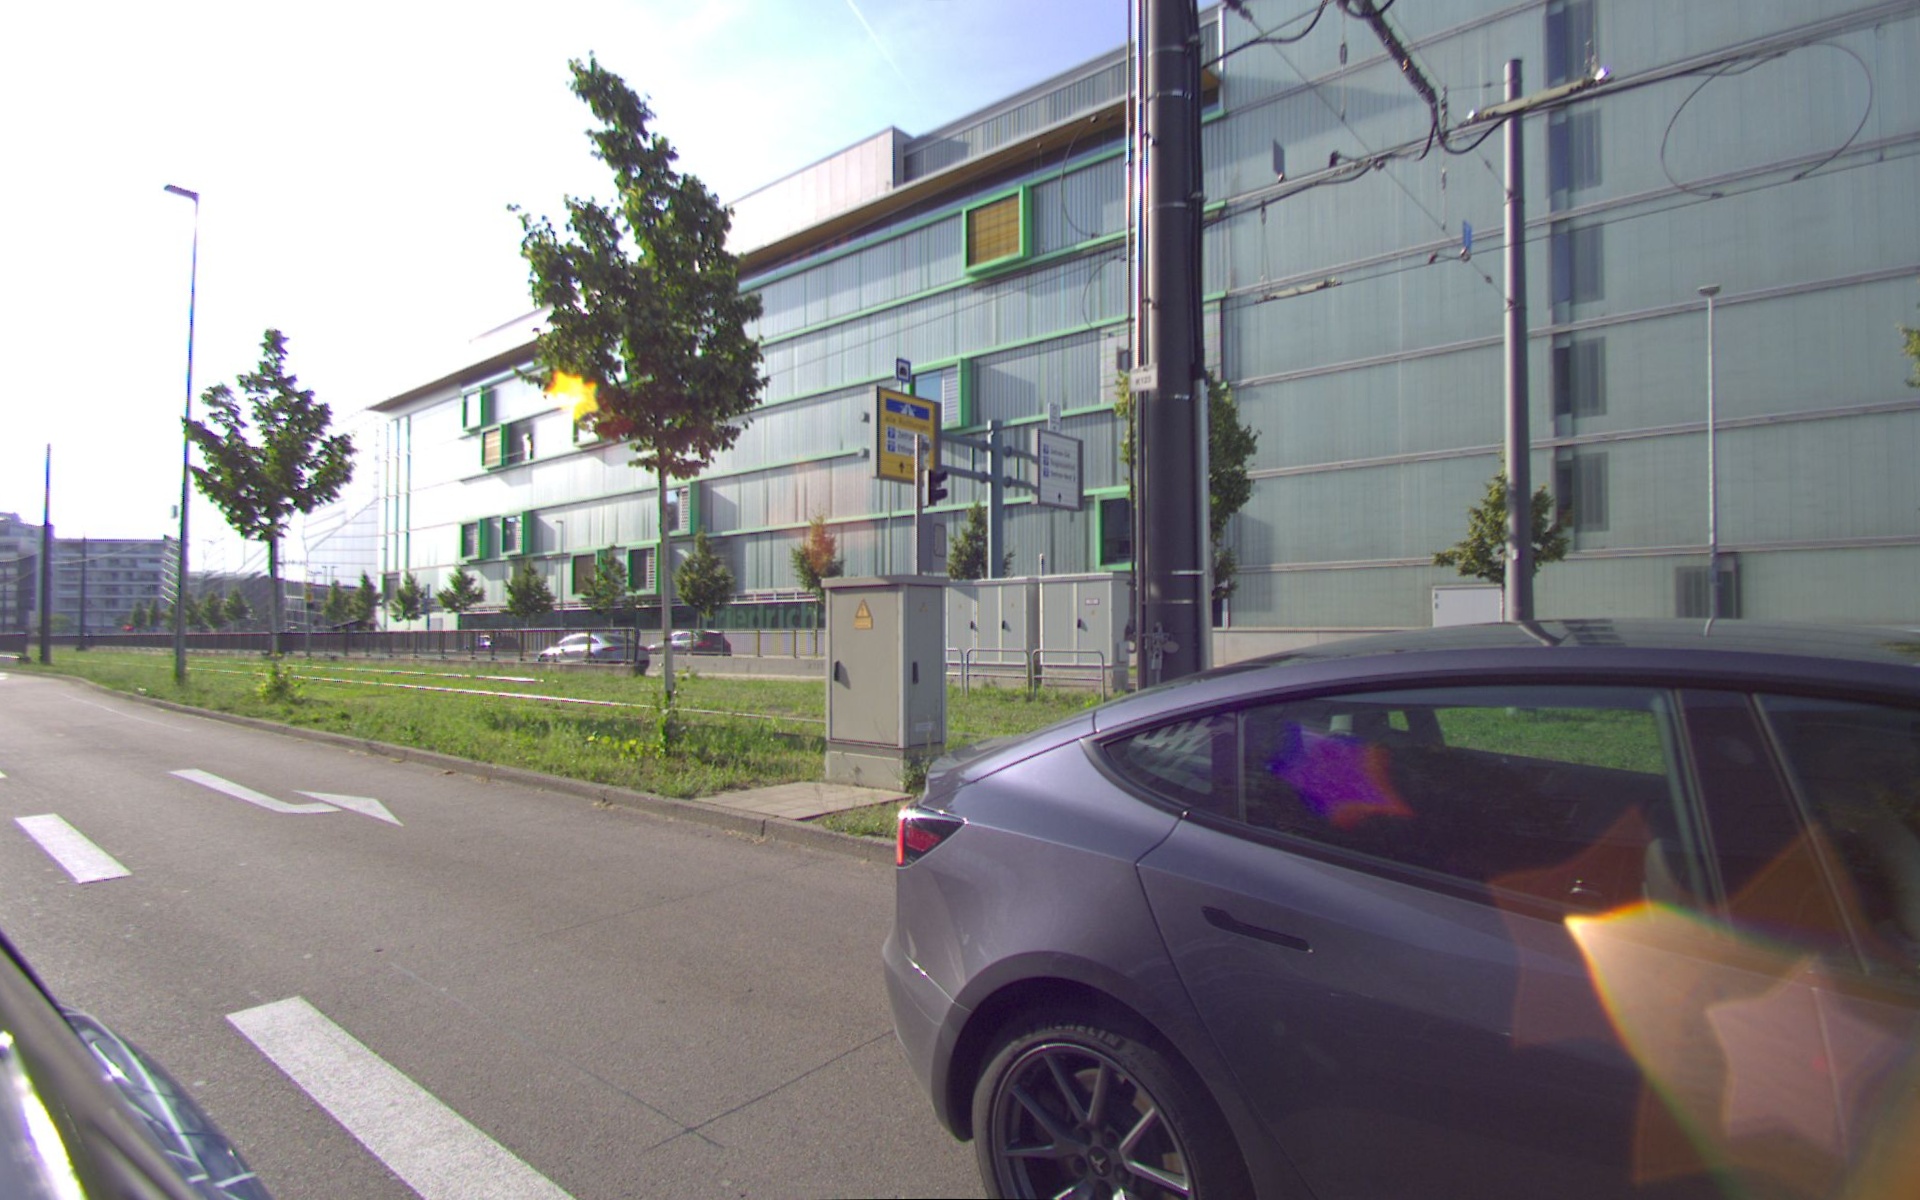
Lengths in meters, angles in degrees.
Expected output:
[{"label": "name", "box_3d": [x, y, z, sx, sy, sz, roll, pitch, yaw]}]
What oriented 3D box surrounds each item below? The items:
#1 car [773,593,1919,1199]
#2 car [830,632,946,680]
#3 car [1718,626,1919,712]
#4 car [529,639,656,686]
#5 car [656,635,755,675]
[{"label": "car", "box_3d": [1.802, 0.690, 1.841, 4.331, 1.396, 1.871, -3, -1, 40]}, {"label": "car", "box_3d": [-2.701, 2.027, 37.157, 4.178, 1.647, 1.888, -2, -3, 42]}, {"label": "car", "box_3d": [17.208, 1.274, 19.206, 4.437, 1.539, 1.887, -2, -3, 39]}, {"label": "car", "box_3d": [-13.059, 2.177, 35.831, 4.906, 1.539, 1.974, -2, -3, 38]}, {"label": "car", "box_3d": [-11.278, 2.402, 44.686, 4.613, 1.700, 1.973, -2, -3, 41]}]
